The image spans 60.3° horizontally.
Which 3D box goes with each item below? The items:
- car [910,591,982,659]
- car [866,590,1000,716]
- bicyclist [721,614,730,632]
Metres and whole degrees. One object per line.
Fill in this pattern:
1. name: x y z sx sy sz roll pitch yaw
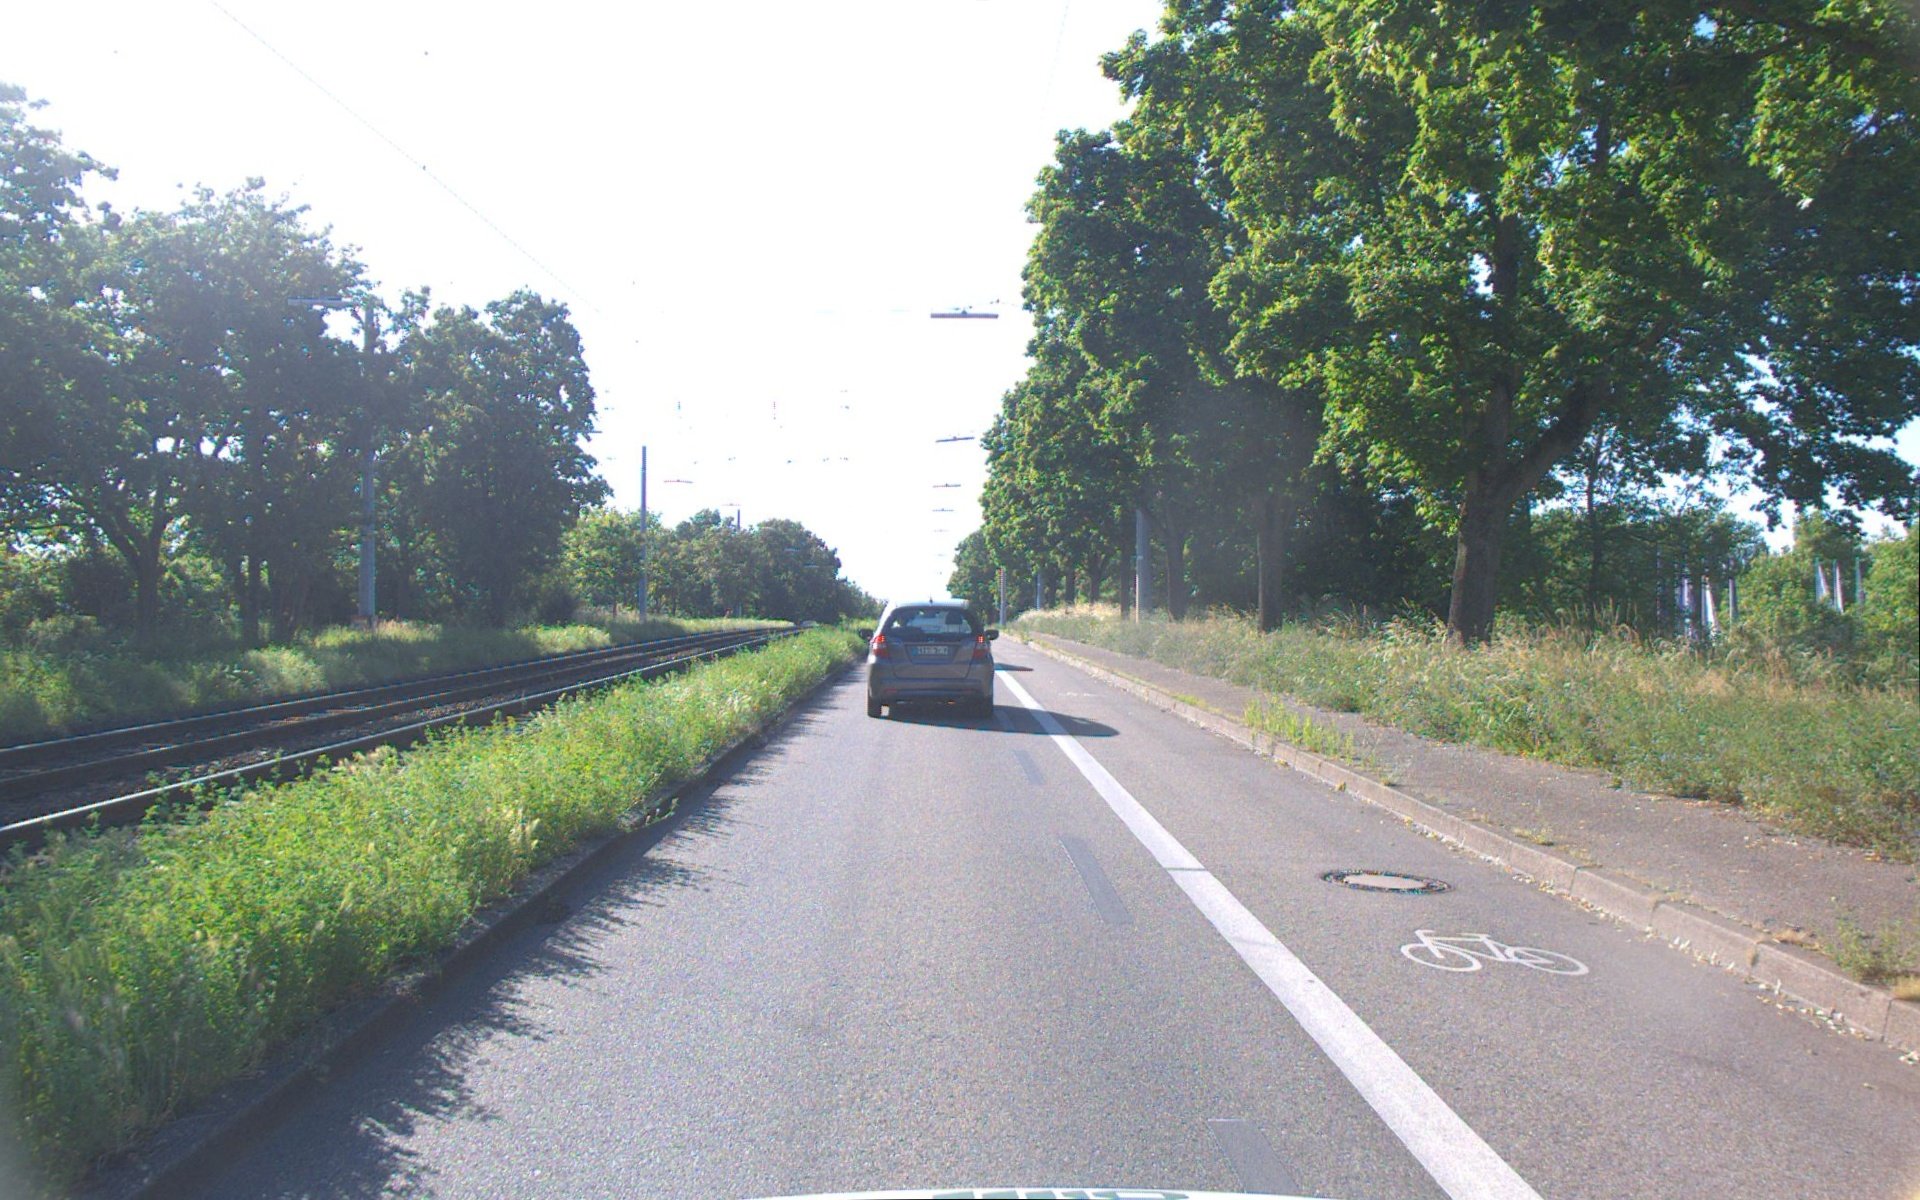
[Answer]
1. car: -0.324 0.577 39.959 1.621 1.534 3.810 1 0 0
2. car: -0.349 0.674 22.550 1.636 1.534 3.810 1 0 0
3. bicyclist: -18.293 1.799 128.901 0.570 1.333 0.987 1 0 -1
